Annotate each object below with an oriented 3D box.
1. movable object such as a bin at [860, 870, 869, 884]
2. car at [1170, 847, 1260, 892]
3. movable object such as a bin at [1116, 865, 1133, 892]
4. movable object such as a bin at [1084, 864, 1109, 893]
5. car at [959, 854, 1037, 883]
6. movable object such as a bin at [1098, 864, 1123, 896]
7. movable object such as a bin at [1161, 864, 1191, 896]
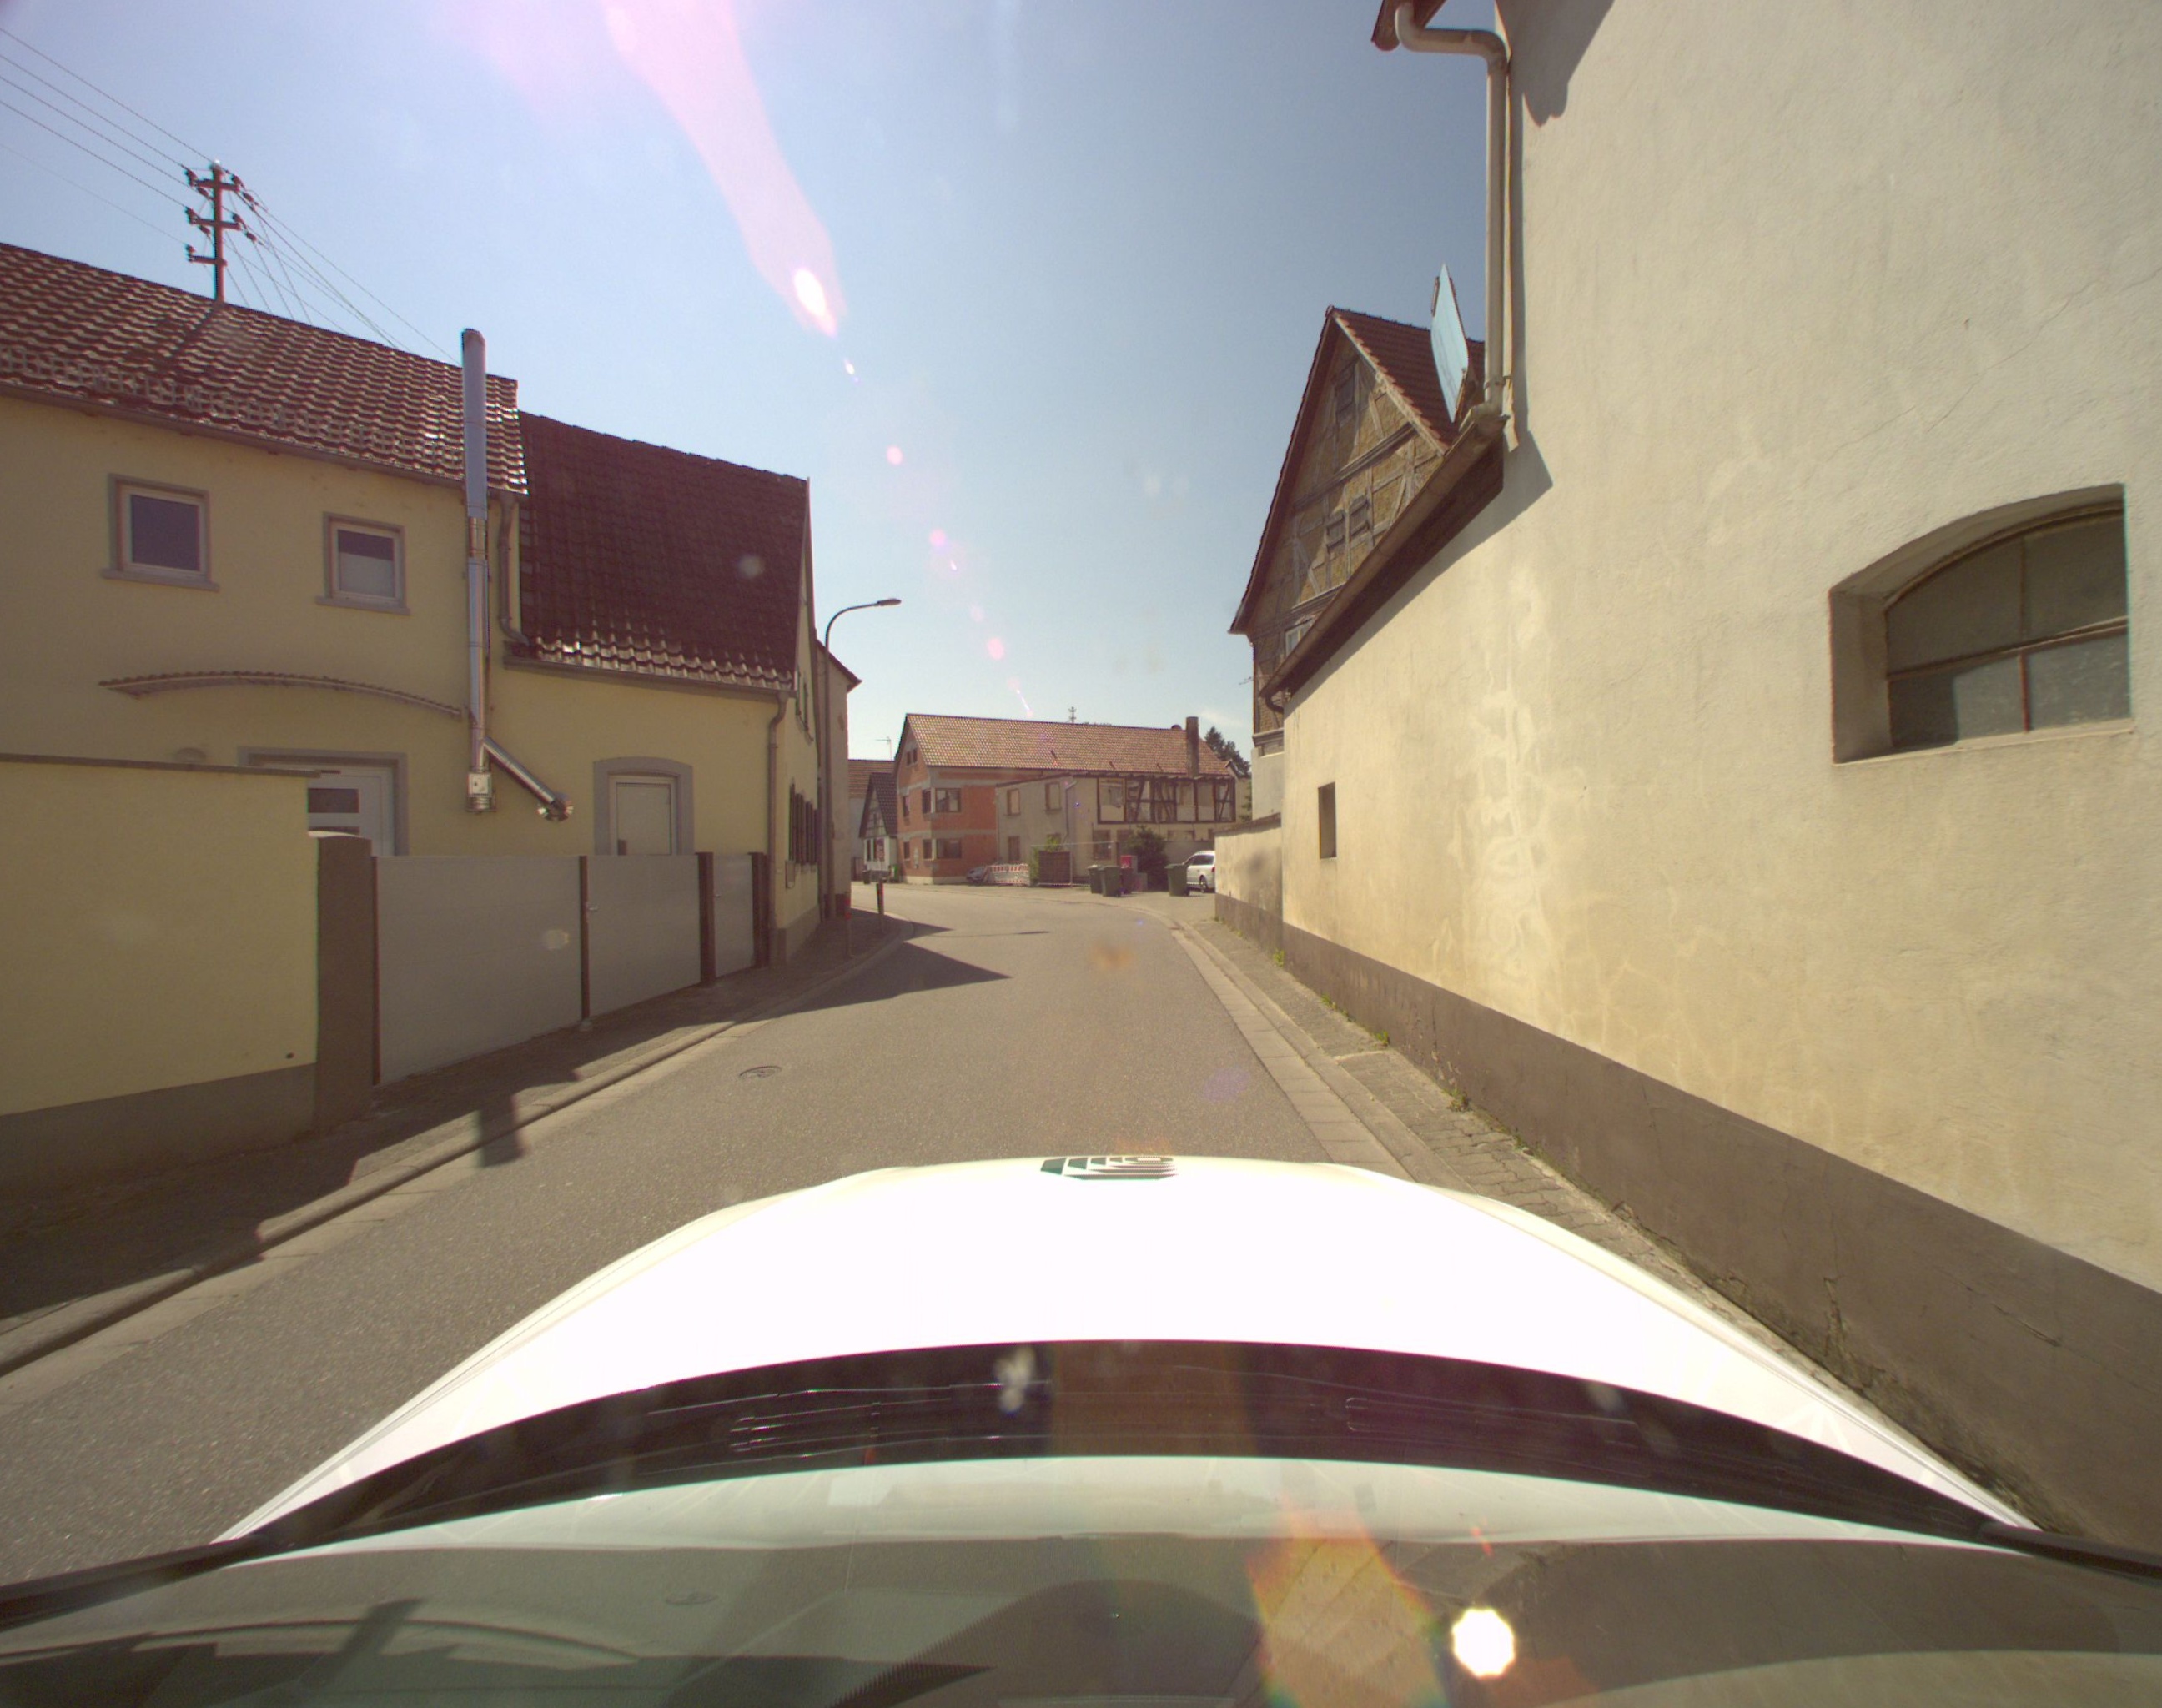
[{"bbox_3d":[-14.805,1.583,55.700,0.538,0.913,0.549,-1,-1,-12],"label":"movable object such as a bin"},{"bbox_3d":[4.930,0.539,30.626,1.813,1.528,4.277,-1,0,-13],"label":"car"},{"bbox_3d":[1.614,0.900,30.373,0.466,0.970,0.492,-1,0,-21],"label":"movable object such as a bin"},{"bbox_3d":[0.597,0.942,31.283,0.664,1.072,0.766,-1,0,29],"label":"movable object such as a bin"},{"bbox_3d":[-4.801,0.797,47.368,4.118,1.507,1.850,-2,0,-34],"label":"car"},{"bbox_3d":[1.041,0.921,29.001,0.689,1.092,0.633,-1,0,-21],"label":"movable object such as a bin"},{"bbox_3d":[3.260,0.876,27.914,0.723,1.081,0.749,-1,0,-24],"label":"movable object such as a bin"}]
